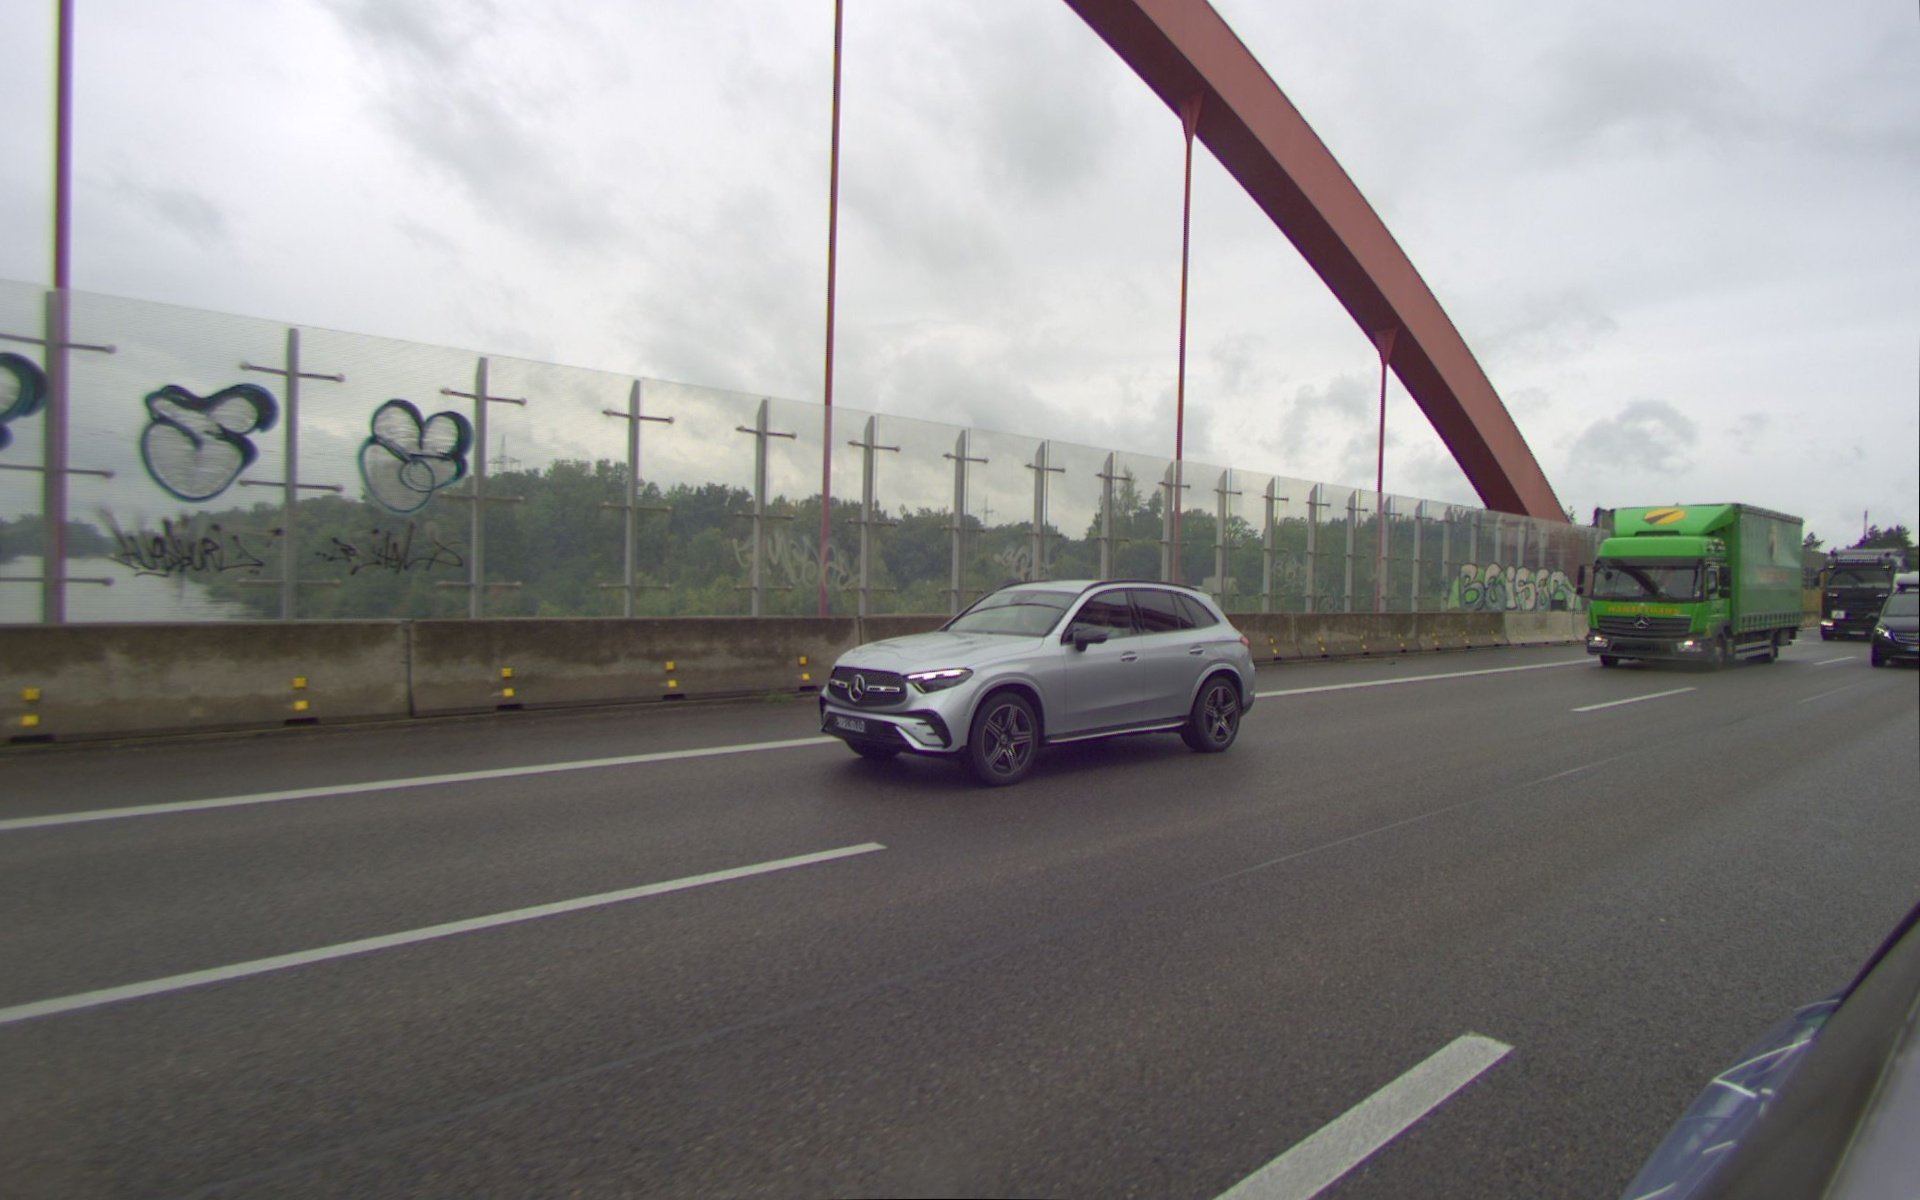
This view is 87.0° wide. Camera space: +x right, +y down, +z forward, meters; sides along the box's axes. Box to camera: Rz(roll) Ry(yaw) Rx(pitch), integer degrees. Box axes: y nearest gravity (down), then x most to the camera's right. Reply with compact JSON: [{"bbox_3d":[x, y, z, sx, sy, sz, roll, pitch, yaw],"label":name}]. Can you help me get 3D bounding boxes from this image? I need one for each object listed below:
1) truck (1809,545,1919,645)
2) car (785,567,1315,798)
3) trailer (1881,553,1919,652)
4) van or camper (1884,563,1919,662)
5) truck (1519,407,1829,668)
[{"bbox_3d":[41.227,-0.284,45.762,12.500,3.999,2.816,0,2,-43],"label":"truck"},{"bbox_3d":[1.116,0.557,9.671,5.235,1.639,1.997,0,1,-41],"label":"car"},{"bbox_3d":[29.185,0.099,29.394,7.380,2.675,2.726,0,1,-41],"label":"trailer"},{"bbox_3d":[24.429,0.287,25.036,5.583,2.298,1.893,0,1,-43],"label":"van or camper"},{"bbox_3d":[18.599,-1.329,25.897,11.023,5.332,4.004,0,0,-41],"label":"truck"}]
